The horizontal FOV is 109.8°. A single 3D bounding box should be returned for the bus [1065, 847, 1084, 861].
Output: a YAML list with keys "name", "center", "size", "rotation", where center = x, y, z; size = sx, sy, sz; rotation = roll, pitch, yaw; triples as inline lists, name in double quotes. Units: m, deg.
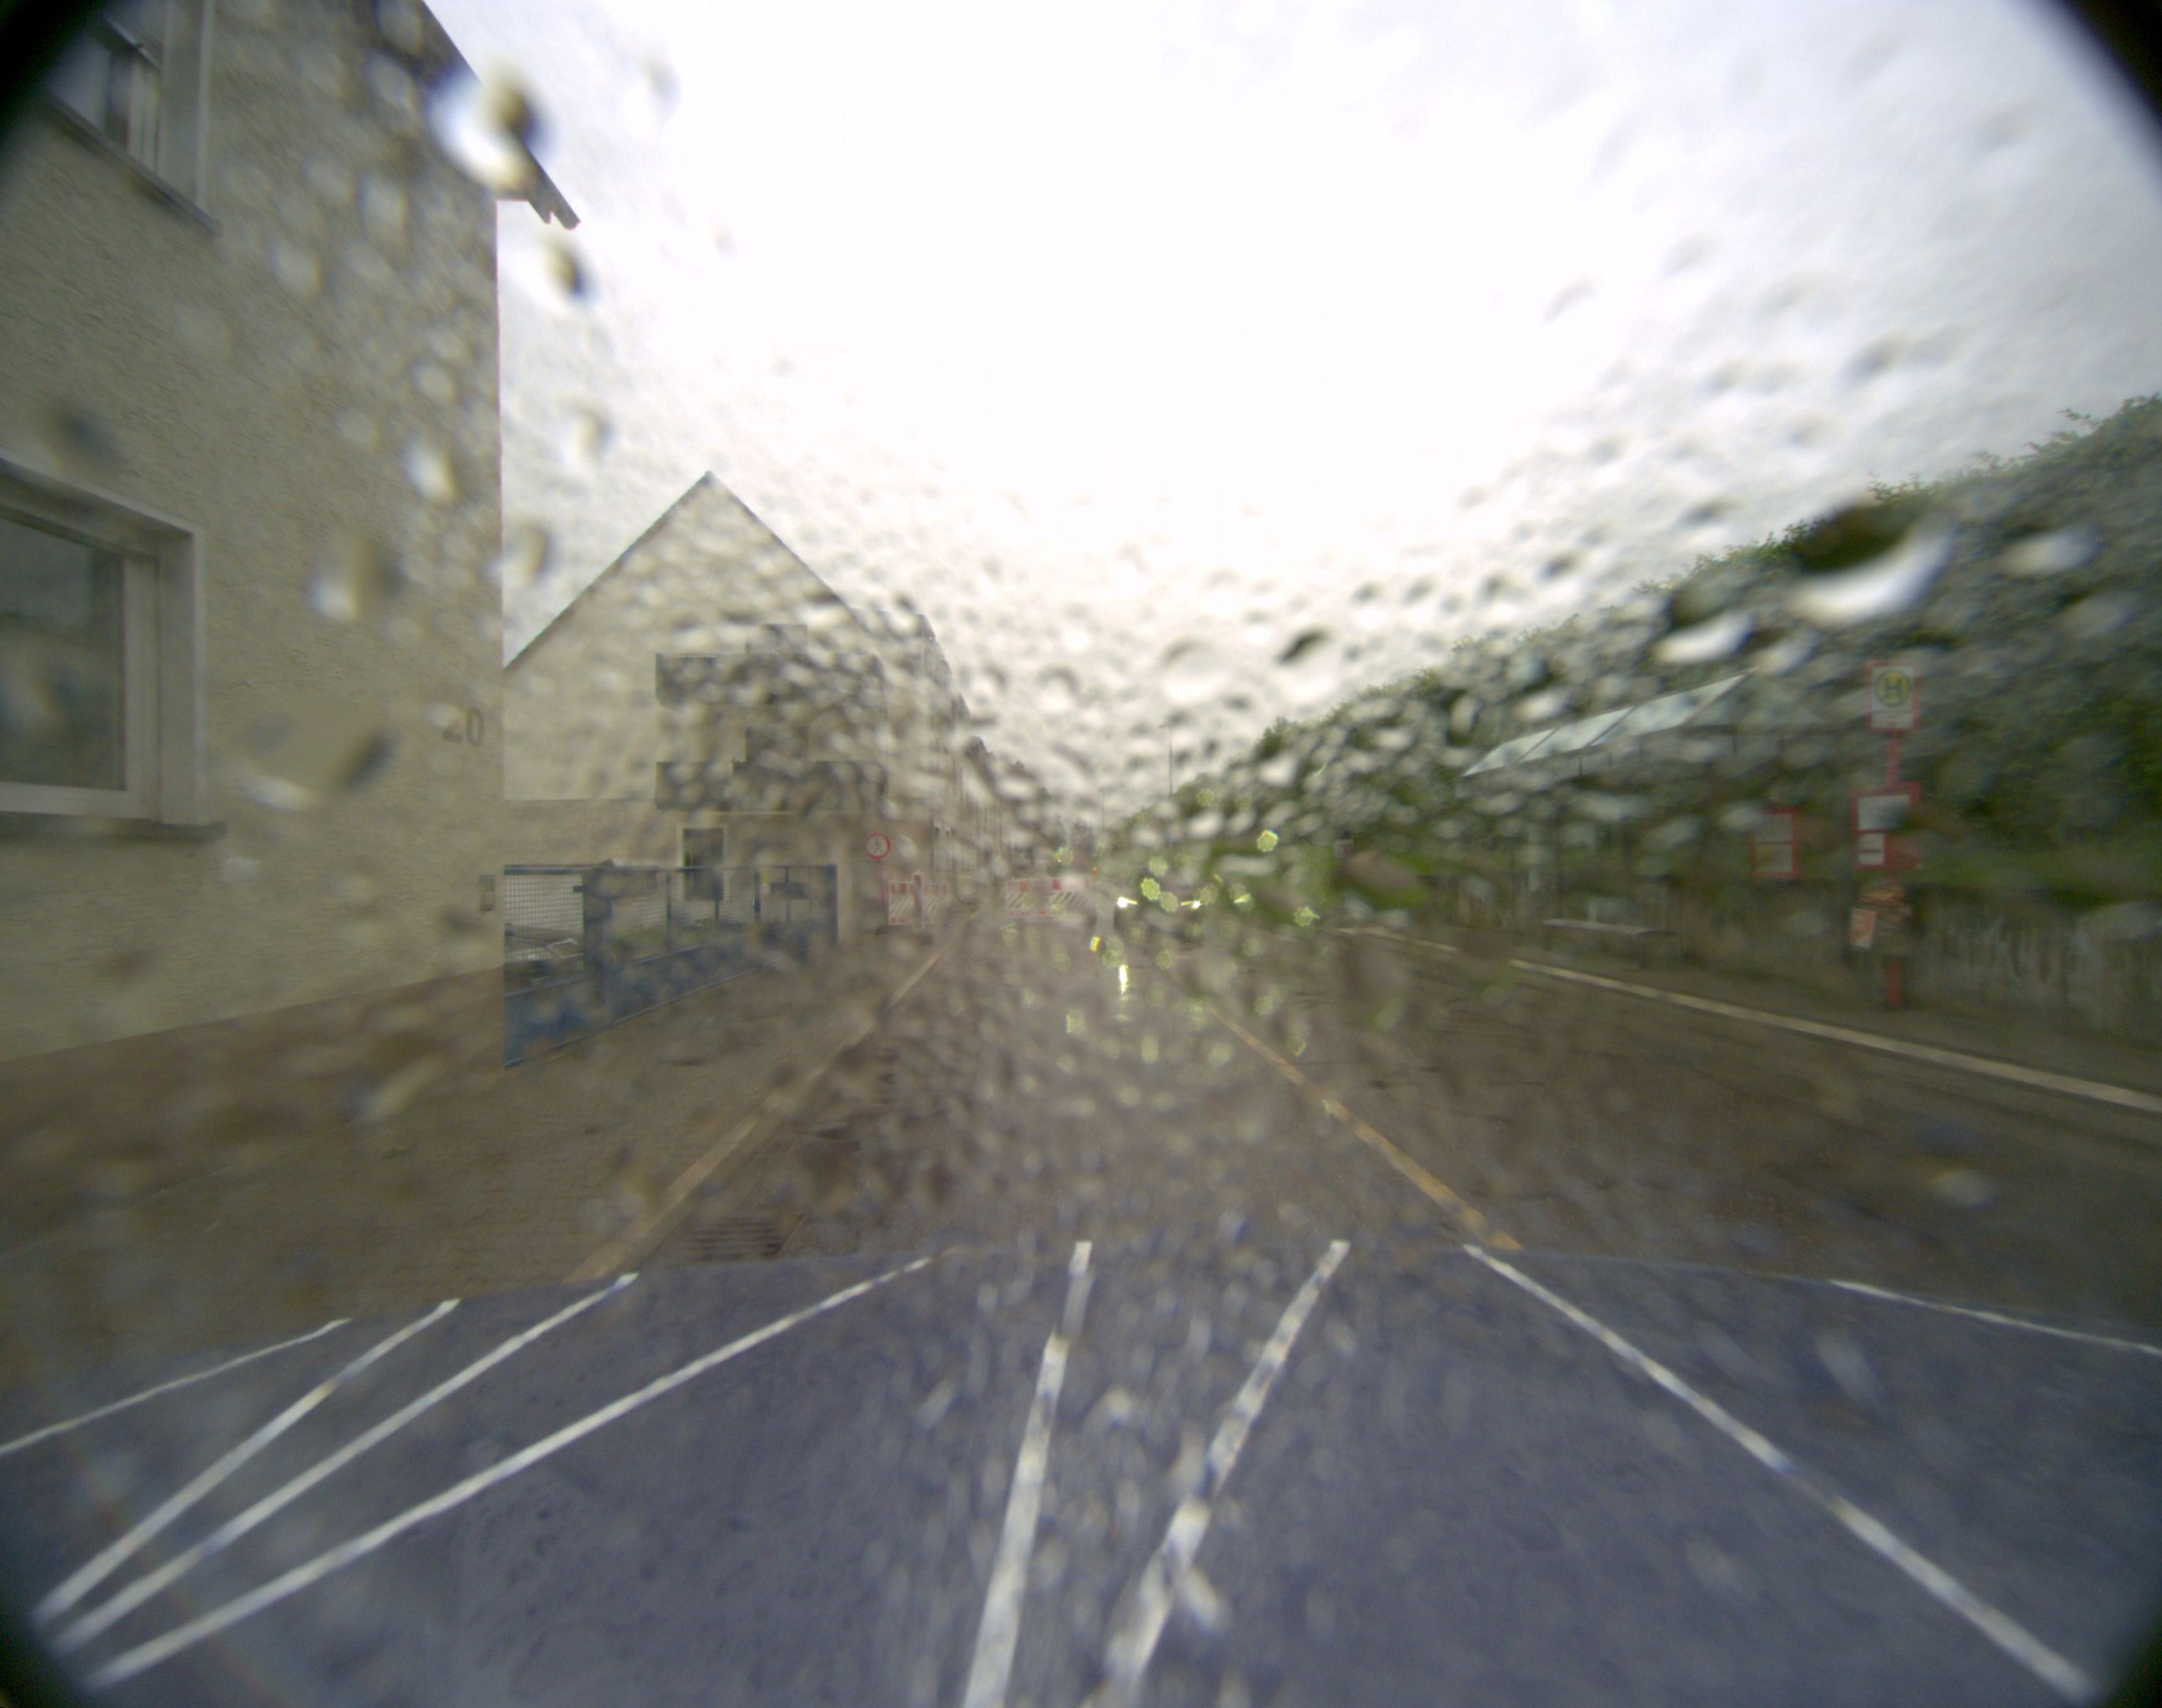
- name: "bus"
  center: [-1.314, -0.081, 165.271]
  size: [2.684, 2.987, 14.550]
  rotation: [0, 1, 5]

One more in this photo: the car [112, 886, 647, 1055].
- name: "car"
  center: [-7.660, 1.220, 8.705]
  size: [4.155, 1.294, 1.911]
  rotation: [-4, 1, -3]

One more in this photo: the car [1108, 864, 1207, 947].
- name: "car"
  center: [1.702, 0.991, 16.555]
  size: [1.850, 1.444, 4.534]
  rotation: [0, 1, 7]

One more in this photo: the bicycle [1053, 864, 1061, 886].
- name: "bicycle"
  center: [-1.284, 1.116, 41.369]
  size: [0.407, 1.137, 1.221]
  rotation: [0, 1, -1]

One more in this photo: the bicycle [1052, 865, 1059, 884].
- name: "bicycle"
  center: [-1.459, 1.152, 43.599]
  size: [0.407, 1.023, 1.221]
  rotation: [0, 1, -1]
